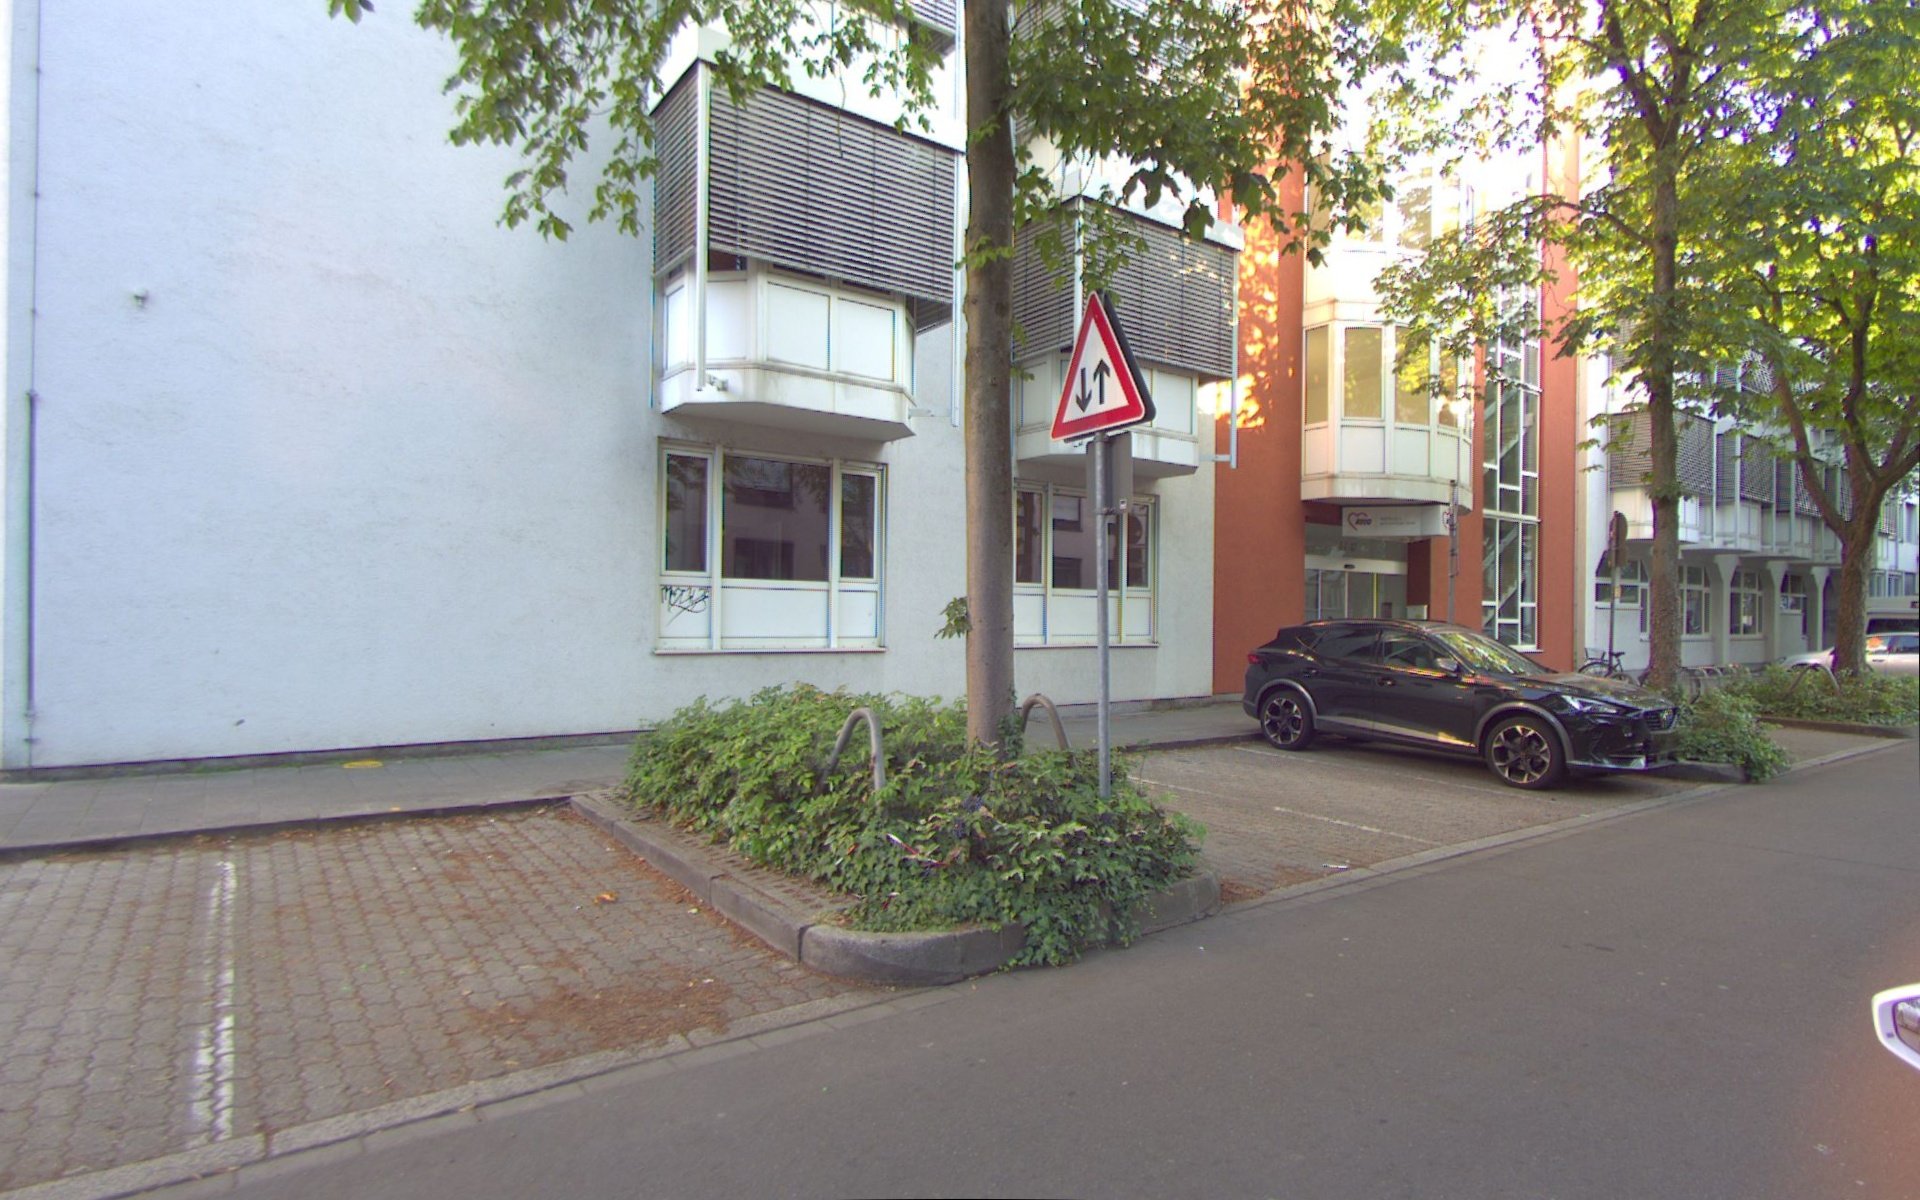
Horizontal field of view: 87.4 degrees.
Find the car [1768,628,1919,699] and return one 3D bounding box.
[{"bbox_3d":[21.649,1.458,23.513,1.767,1.537,3.942,1,-1,-35],"label":"car"}]

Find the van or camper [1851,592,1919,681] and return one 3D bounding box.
[{"bbox_3d":[28.392,1.057,28.310,1.981,2.511,4.632,1,-1,-36],"label":"van or camper"}]

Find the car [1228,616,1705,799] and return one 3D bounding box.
[{"bbox_3d":[5.198,0.968,10.894,1.768,1.537,4.325,1,-1,-35],"label":"car"}]
